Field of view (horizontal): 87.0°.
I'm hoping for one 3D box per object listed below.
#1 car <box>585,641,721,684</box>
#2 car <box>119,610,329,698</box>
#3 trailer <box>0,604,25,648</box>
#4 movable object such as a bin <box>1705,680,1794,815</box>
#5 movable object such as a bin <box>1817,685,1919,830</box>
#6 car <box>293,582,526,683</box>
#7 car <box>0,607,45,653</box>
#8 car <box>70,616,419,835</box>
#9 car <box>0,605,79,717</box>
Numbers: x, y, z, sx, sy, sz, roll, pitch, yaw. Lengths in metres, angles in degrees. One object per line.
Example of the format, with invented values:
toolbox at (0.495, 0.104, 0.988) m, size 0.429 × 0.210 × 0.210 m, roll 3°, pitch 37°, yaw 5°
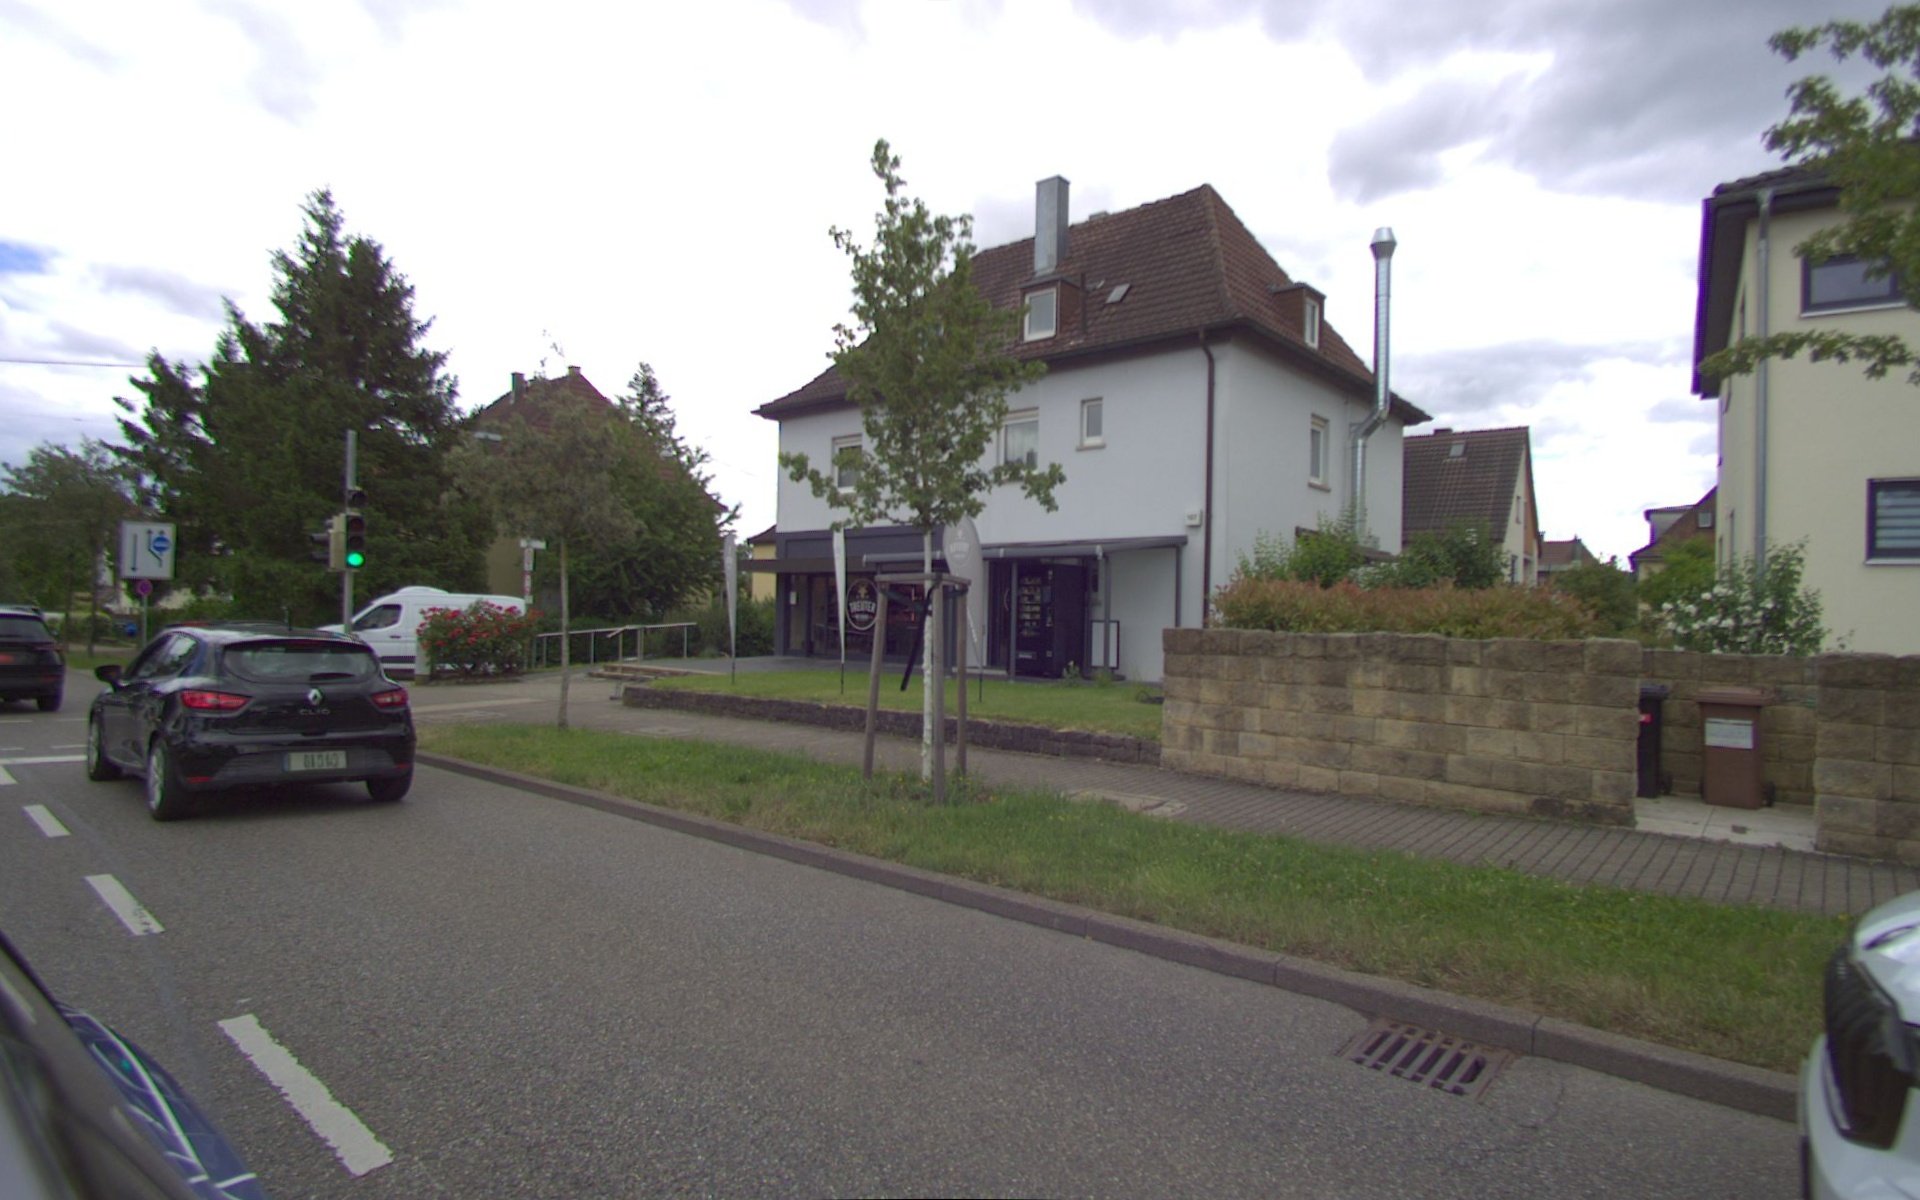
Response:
car at (-10.560, 2.180, 34.969) m, size 4.070 × 1.364 × 1.799 m, roll 5°, pitch -6°, yaw -43°
car at (-15.219, 1.068, 21.285) m, size 1.966 × 1.633 × 4.660 m, roll 1°, pitch -2°, yaw -14°
trailer at (-47.476, 1.249, 49.421) m, size 4.423 × 2.104 × 2.132 m, roll -1°, pitch -2°, yaw 41°
movable object such as a bin at (6.131, 1.119, 7.861) m, size 0.524 × 0.929 × 0.607 m, roll 0°, pitch 0°, yaw 40°
movable object such as a bin at (6.597, 1.116, 7.371) m, size 0.524 × 0.929 × 0.607 m, roll 0°, pitch 0°, yaw 40°
car at (-15.602, 0.983, 28.840) m, size 5.529 × 2.583 × 2.136 m, roll 4°, pitch -3°, yaw -34°
car at (-42.327, 1.330, 44.891) m, size 4.896 × 1.964 × 1.972 m, roll -1°, pitch -3°, yaw 42°
car at (-6.365, 0.914, 8.830) m, size 3.999 × 1.483 × 1.598 m, roll -1°, pitch -4°, yaw 42°
car at (-15.702, 0.909, 15.977) m, size 3.993 × 1.637 × 1.878 m, roll -1°, pitch -2°, yaw 37°
